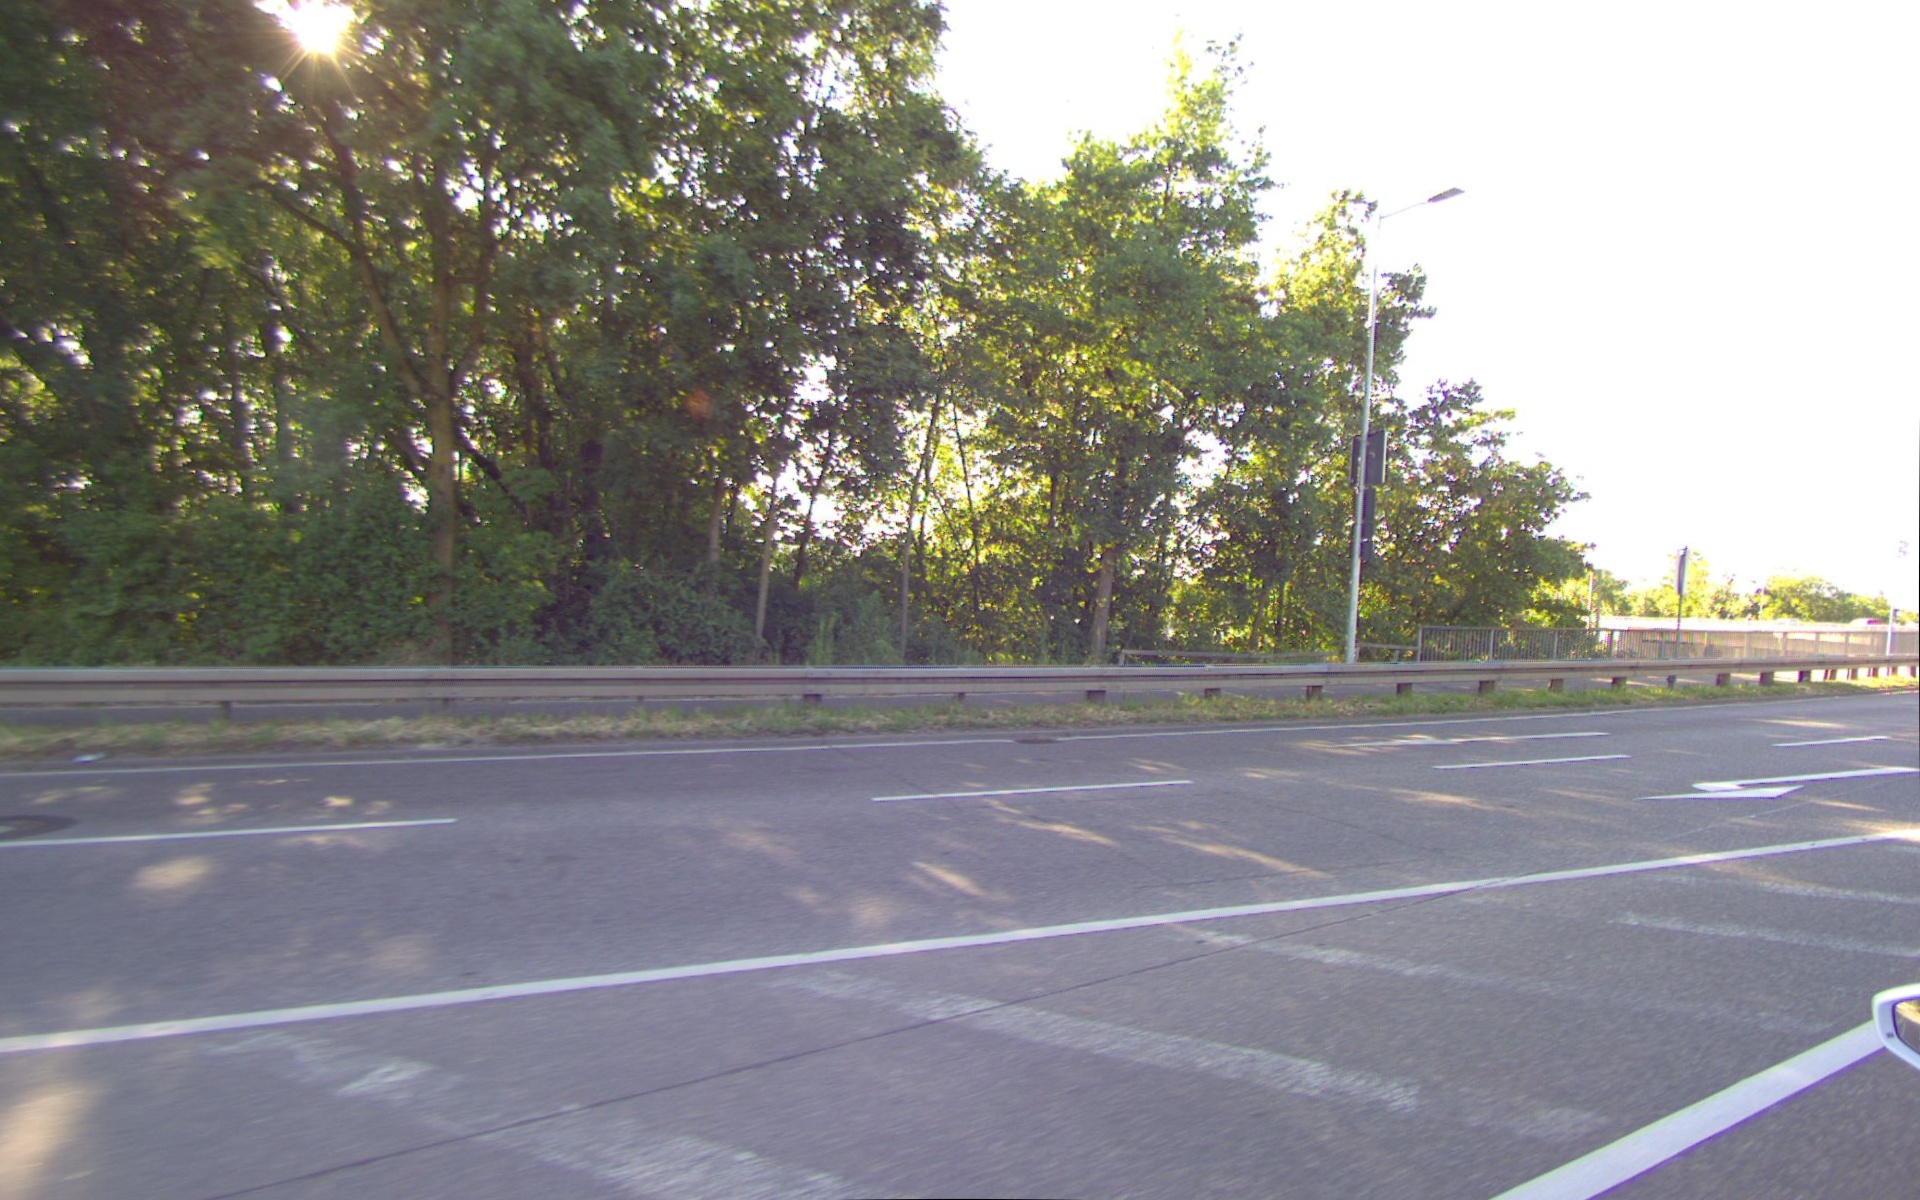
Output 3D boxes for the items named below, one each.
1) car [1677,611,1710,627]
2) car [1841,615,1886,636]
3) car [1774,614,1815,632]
[{"bbox_3d":[96.737,2.536,132.509,1.923,1.976,4.002,2,0,9],"label":"car"},{"bbox_3d":[91.425,2.529,101.741,1.924,1.976,4.000,2,0,19],"label":"car"},{"bbox_3d":[94.539,2.567,113.842,1.923,1.976,4.002,2,0,14],"label":"car"}]
